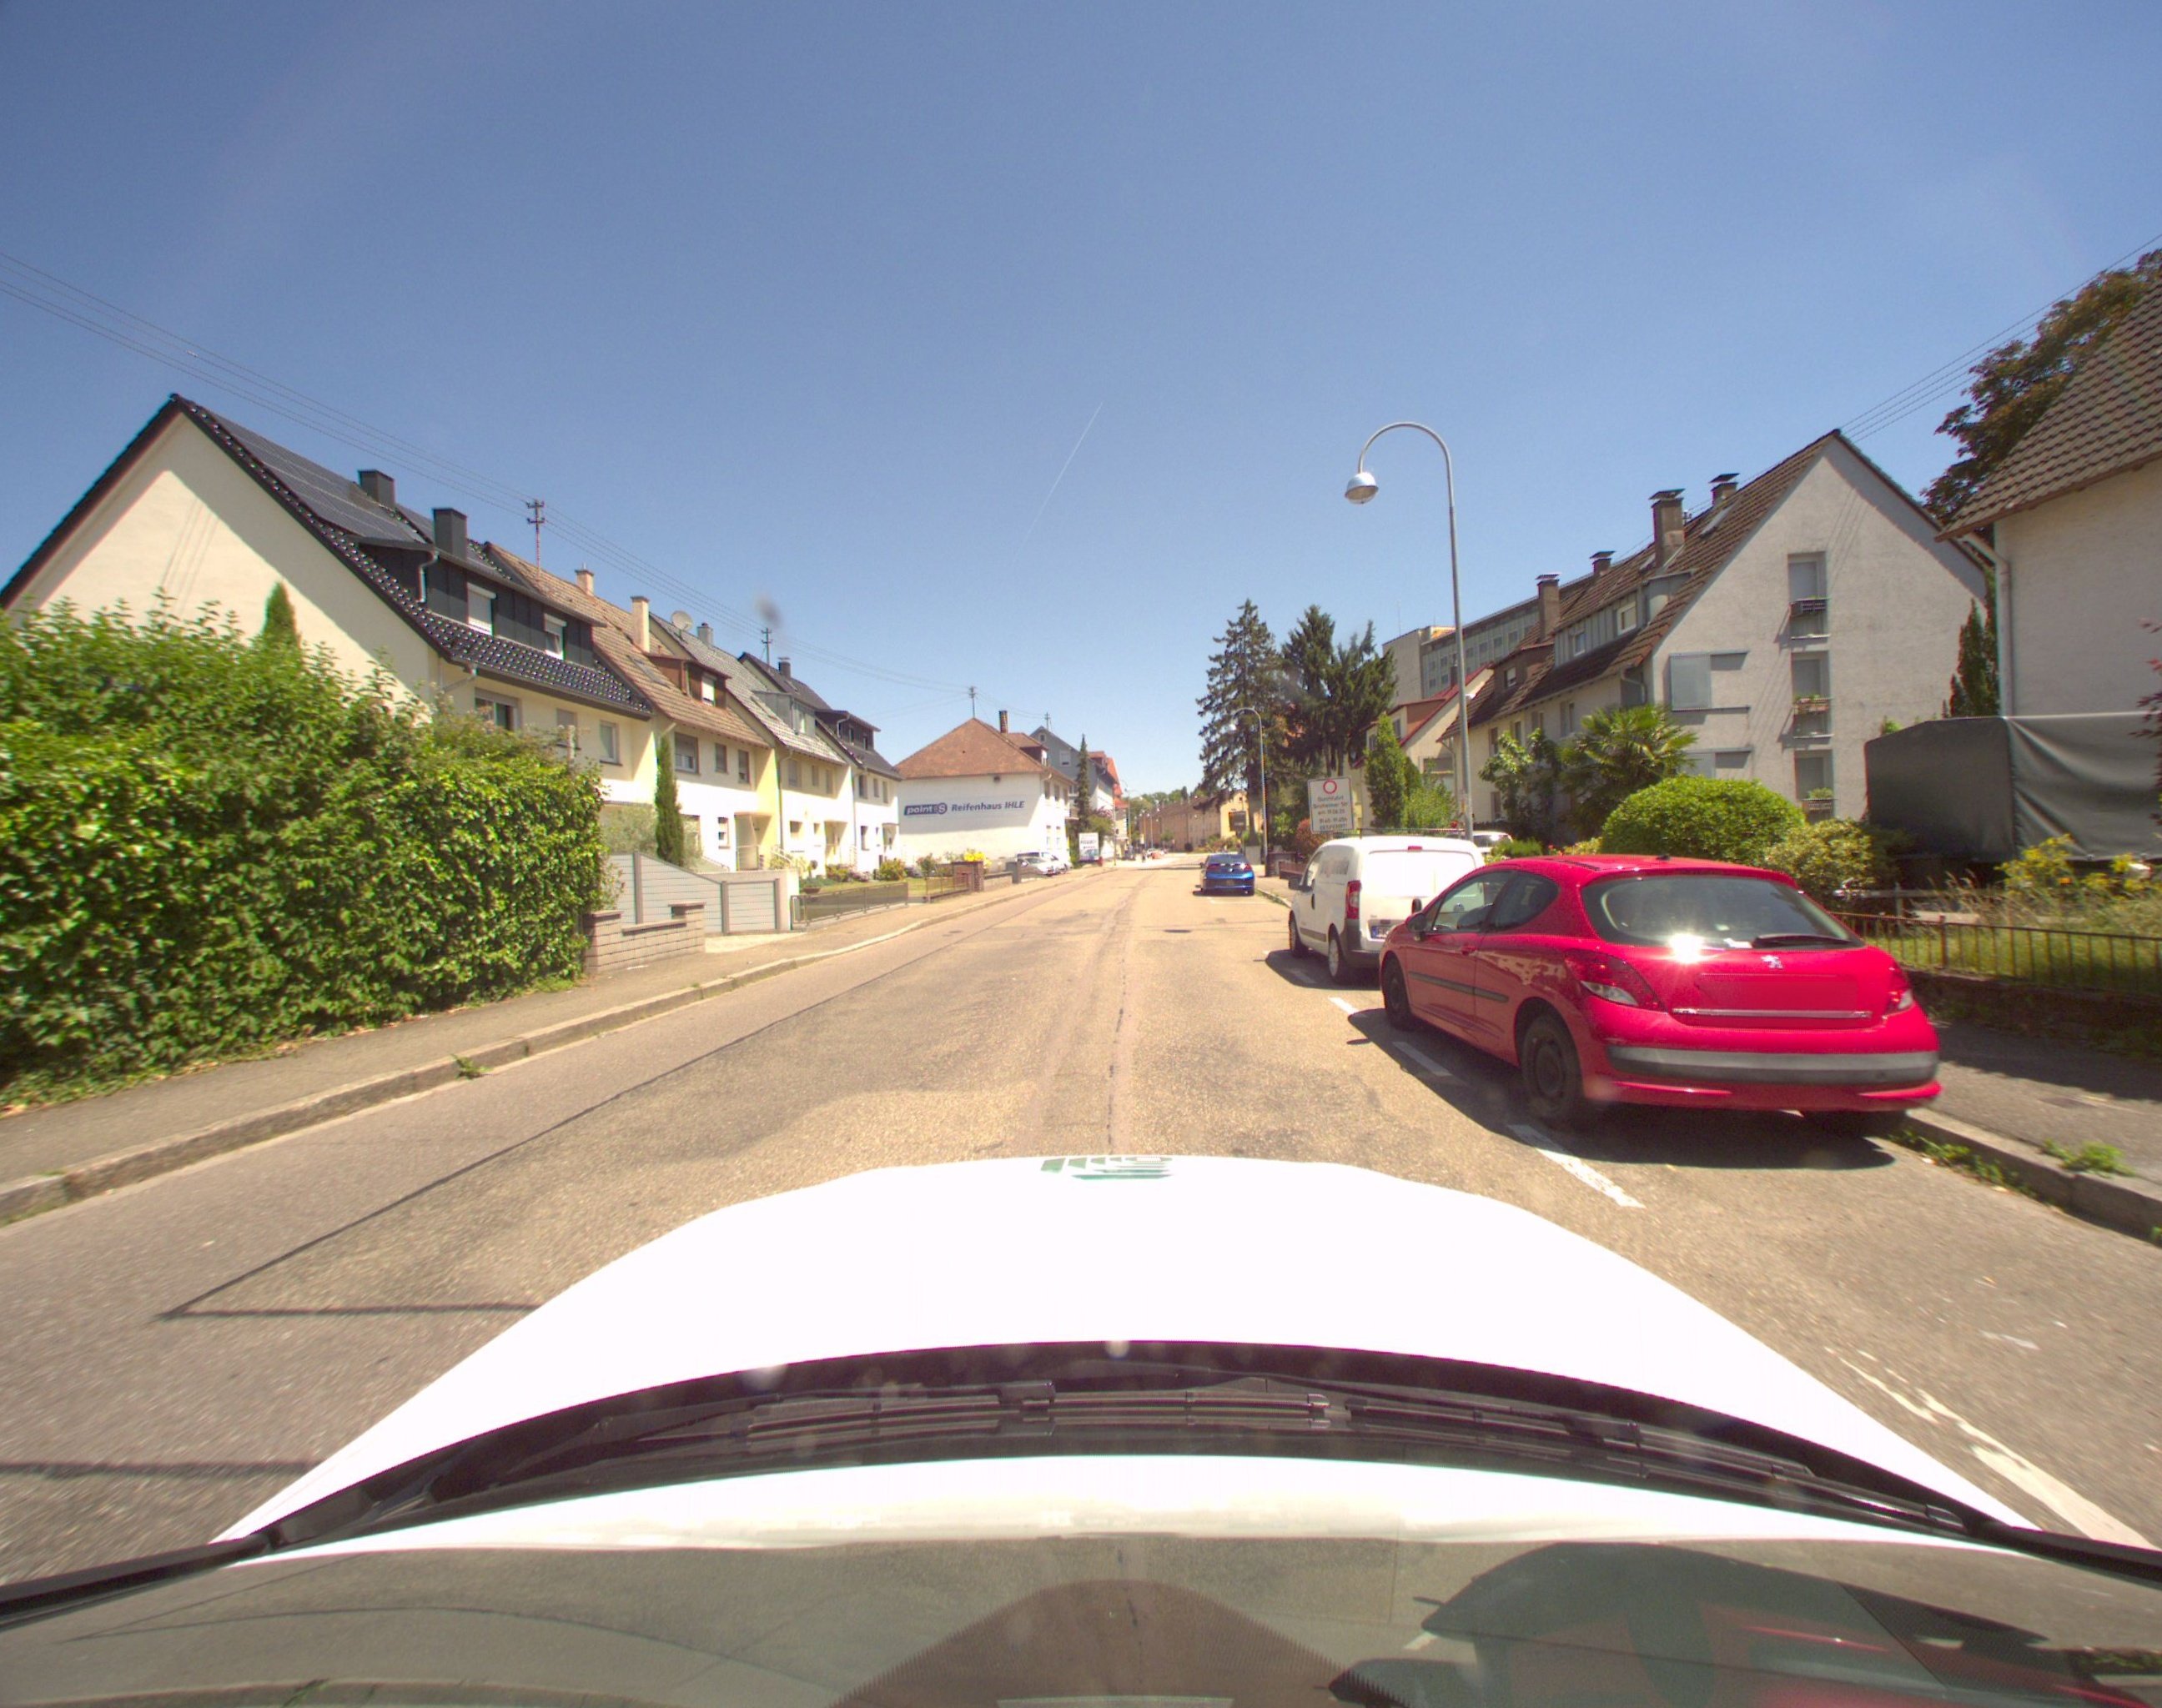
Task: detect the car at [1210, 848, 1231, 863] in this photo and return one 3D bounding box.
[{"bbox_3d":[14.911,0.113,86.793,1.781,1.510,4.016,-1,1,15],"label":"car"}]

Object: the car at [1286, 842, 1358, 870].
[{"bbox_3d":[14.651,0.110,49.649,3.967,1.610,1.836,-1,0,6],"label":"car"}]

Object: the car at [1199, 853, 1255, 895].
[{"bbox_3d":[5.267,0.672,29.784,1.769,1.405,4.294,0,0,6],"label":"car"}]

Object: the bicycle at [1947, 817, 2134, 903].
[{"bbox_3d":[13.680,0.098,11.708,0.452,1.107,1.949,-4,-2,5],"label":"bicycle"}]

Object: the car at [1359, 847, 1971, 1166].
[{"bbox_3d":[3.374,0.705,5.770,1.657,1.455,4.003,0,0,3],"label":"car"}]

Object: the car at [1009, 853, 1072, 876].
[{"bbox_3d":[-2.835,0.734,57.565,4.108,1.394,1.831,-2,0,5],"label":"car"}]

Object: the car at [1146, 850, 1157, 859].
[{"bbox_3d":[12.482,0.063,144.425,1.590,1.606,3.410,-1,0,1],"label":"car"}]

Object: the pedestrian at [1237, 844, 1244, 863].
[{"bbox_3d":[15.497,-0.063,79.112,0.684,1.770,0.693,-1,-2,13],"label":"pedestrian"}]

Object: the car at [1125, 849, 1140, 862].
[{"bbox_3d":[6.984,0.197,110.073,1.748,1.656,4.007,-1,0,6],"label":"car"}]

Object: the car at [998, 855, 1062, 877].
[{"bbox_3d":[-3.459,0.808,54.637,4.089,1.343,1.923,-2,0,40],"label":"car"}]

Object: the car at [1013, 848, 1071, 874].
[{"bbox_3d":[-2.848,0.530,60.122,4.113,1.774,1.829,-2,0,2],"label":"car"}]

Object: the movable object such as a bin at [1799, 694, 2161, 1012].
[{"bbox_3d":[9.347,-0.023,7.949,3.134,2.747,1.708,-1,0,1],"label":"movable object such as a bin"}]

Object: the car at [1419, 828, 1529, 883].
[{"bbox_3d":[12.541,0.046,26.288,1.786,1.569,4.004,-2,0,3],"label":"car"}]

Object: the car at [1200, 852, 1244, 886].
[{"bbox_3d":[6.229,0.623,36.340,1.716,1.419,4.021,0,0,6],"label":"car"}]

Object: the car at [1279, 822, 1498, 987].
[{"bbox_3d":[3.788,0.564,10.766,1.656,1.755,4.004,0,-1,4],"label":"car"}]

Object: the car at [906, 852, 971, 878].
[{"bbox_3d":[-8.697,0.657,49.534,3.949,1.510,1.811,-1,1,42],"label":"car"}]
